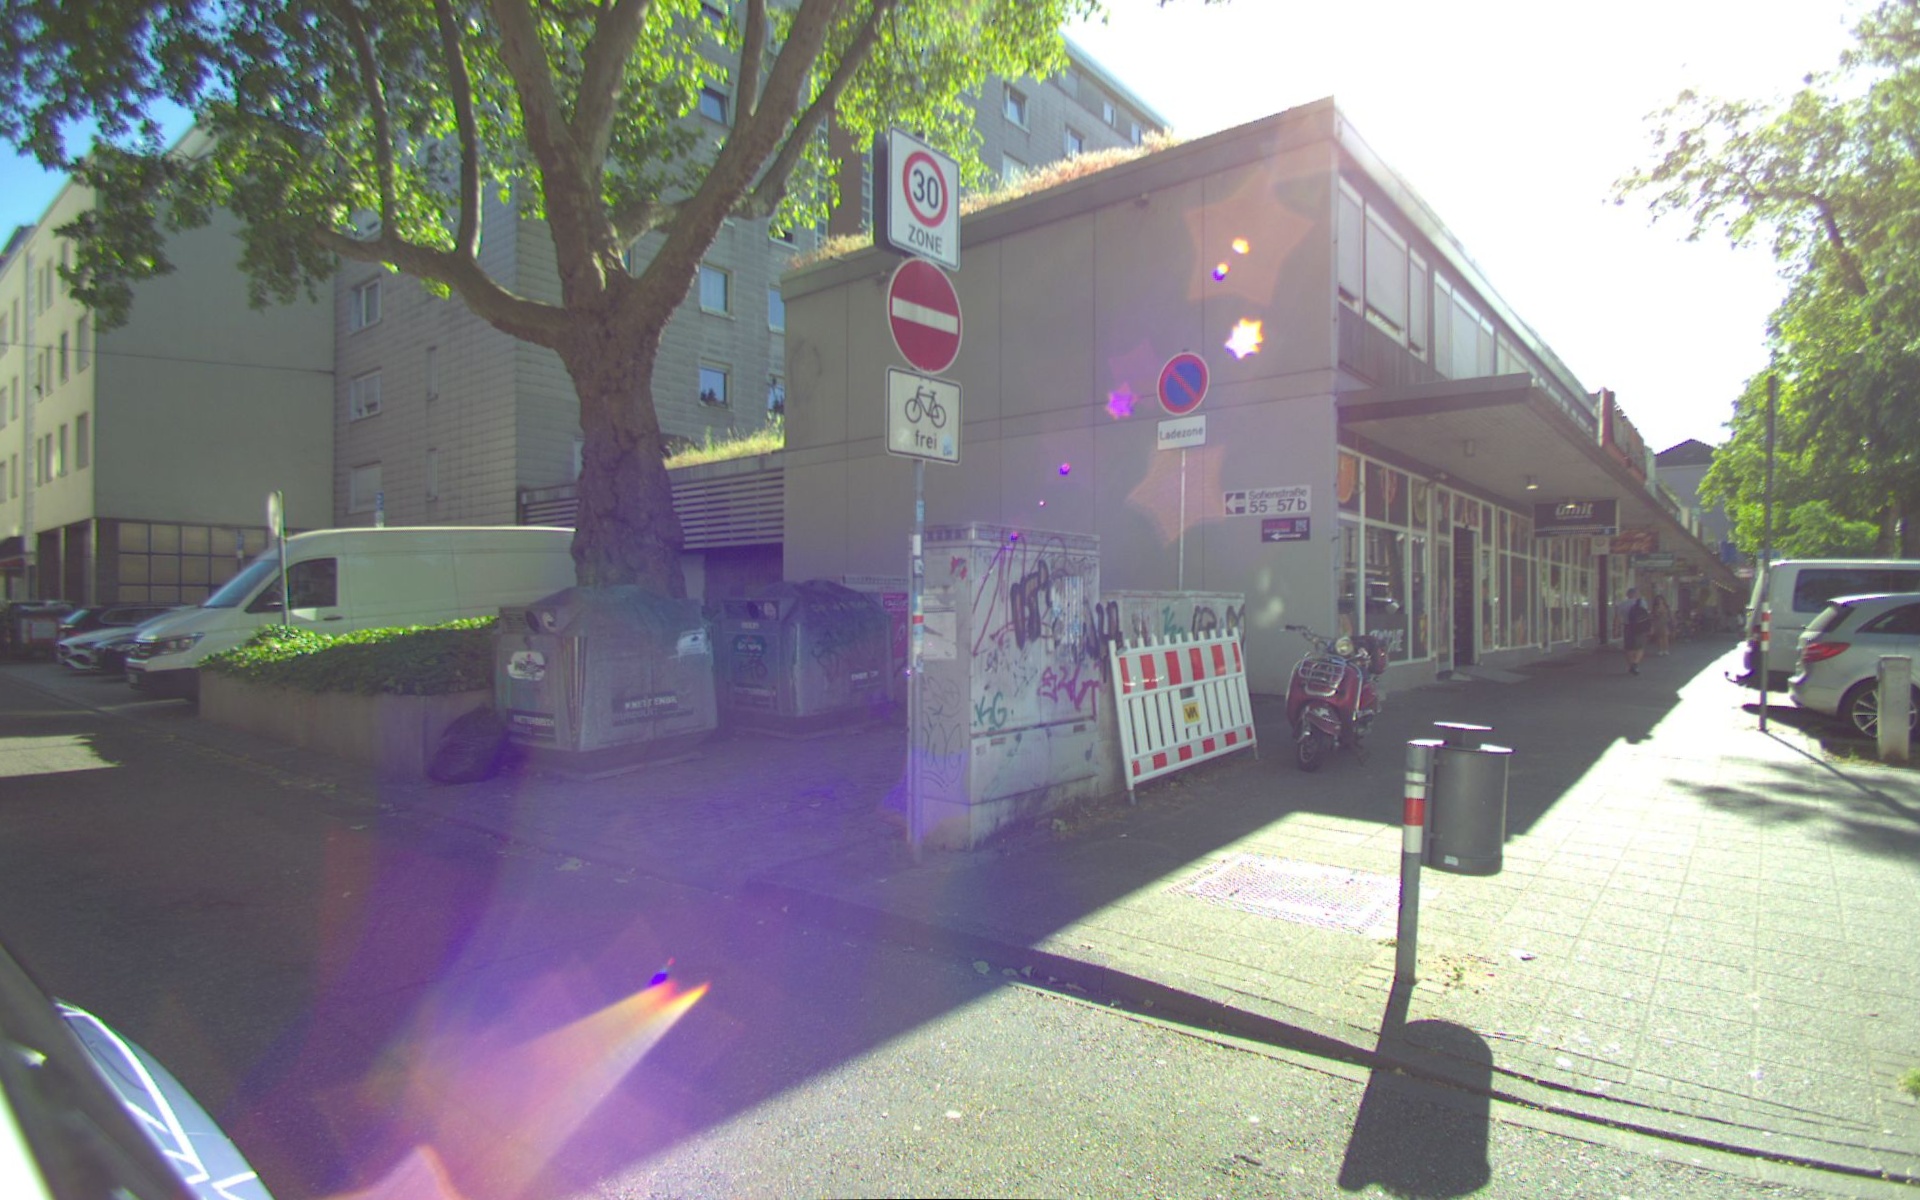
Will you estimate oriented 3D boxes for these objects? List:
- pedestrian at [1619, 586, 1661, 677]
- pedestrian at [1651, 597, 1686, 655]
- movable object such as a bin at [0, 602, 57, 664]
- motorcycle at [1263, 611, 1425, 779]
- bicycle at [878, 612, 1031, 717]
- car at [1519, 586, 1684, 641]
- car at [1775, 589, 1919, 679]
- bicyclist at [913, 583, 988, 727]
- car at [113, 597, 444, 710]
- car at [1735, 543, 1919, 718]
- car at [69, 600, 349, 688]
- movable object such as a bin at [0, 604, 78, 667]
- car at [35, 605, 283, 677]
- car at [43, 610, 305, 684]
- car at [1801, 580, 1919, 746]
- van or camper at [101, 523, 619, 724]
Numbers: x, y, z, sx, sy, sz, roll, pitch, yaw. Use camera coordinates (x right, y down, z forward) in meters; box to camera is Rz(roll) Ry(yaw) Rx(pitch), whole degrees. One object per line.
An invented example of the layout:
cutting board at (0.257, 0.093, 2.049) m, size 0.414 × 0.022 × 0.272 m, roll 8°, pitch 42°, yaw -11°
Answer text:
pedestrian at (12.895, 0.589, 19.185) m, size 0.566 × 1.678 × 0.702 m, roll 1°, pitch 0°, yaw 41°
pedestrian at (18.917, 0.684, 27.017) m, size 0.689 × 1.533 × 0.525 m, roll 1°, pitch 0°, yaw 41°
movable object such as a bin at (-23.968, 0.821, 25.753) m, size 1.515 × 1.512 × 1.207 m, roll -1°, pitch -1°, yaw 38°
motorcycle at (3.236, 0.710, 8.417) m, size 0.669 × 1.189 × 1.896 m, roll -1°, pitch 1°, yaw 40°
bicycle at (-0.046, 0.752, 11.974) m, size 1.698 × 1.162 × 0.803 m, roll -1°, pitch 1°, yaw 9°
car at (24.573, 0.514, 38.891) m, size 5.224 × 1.996 × 1.640 m, roll 0°, pitch -1°, yaw 39°
car at (20.151, 0.700, 21.313) m, size 4.637 × 1.818 × 1.813 m, roll 0°, pitch -1°, yaw 39°
bicyclist at (-0.102, 0.614, 11.589) m, size 0.701 × 1.596 × 0.529 m, roll -1°, pitch -1°, yaw 25°
car at (-11.437, 0.794, 17.279) m, size 1.697 × 1.545 × 4.362 m, roll -1°, pitch 1°, yaw 38°
car at (12.222, 0.368, 12.037) m, size 4.739 × 2.021 × 1.935 m, roll 1°, pitch 0°, yaw 38°
car at (-15.400, 0.840, 21.009) m, size 1.694 × 1.629 × 4.368 m, roll -1°, pitch -1°, yaw 33°
movable object such as a bin at (-22.785, 0.849, 24.979) m, size 1.193 × 1.512 × 1.312 m, roll -1°, pitch -1°, yaw 38°
car at (-18.993, 0.911, 24.203) m, size 1.694 × 1.545 × 4.368 m, roll -1°, pitch -1°, yaw 33°
car at (-17.370, 0.981, 22.607) m, size 1.595 × 1.474 × 4.368 m, roll -1°, pitch -1°, yaw 33°
car at (10.952, 0.616, 9.771) m, size 4.299 × 1.625 × 1.735 m, roll -1°, pitch -1°, yaw 39°
van or camper at (-9.180, 0.155, 16.338) m, size 1.999 × 2.593 × 6.836 m, roll -1°, pitch 2°, yaw 40°
